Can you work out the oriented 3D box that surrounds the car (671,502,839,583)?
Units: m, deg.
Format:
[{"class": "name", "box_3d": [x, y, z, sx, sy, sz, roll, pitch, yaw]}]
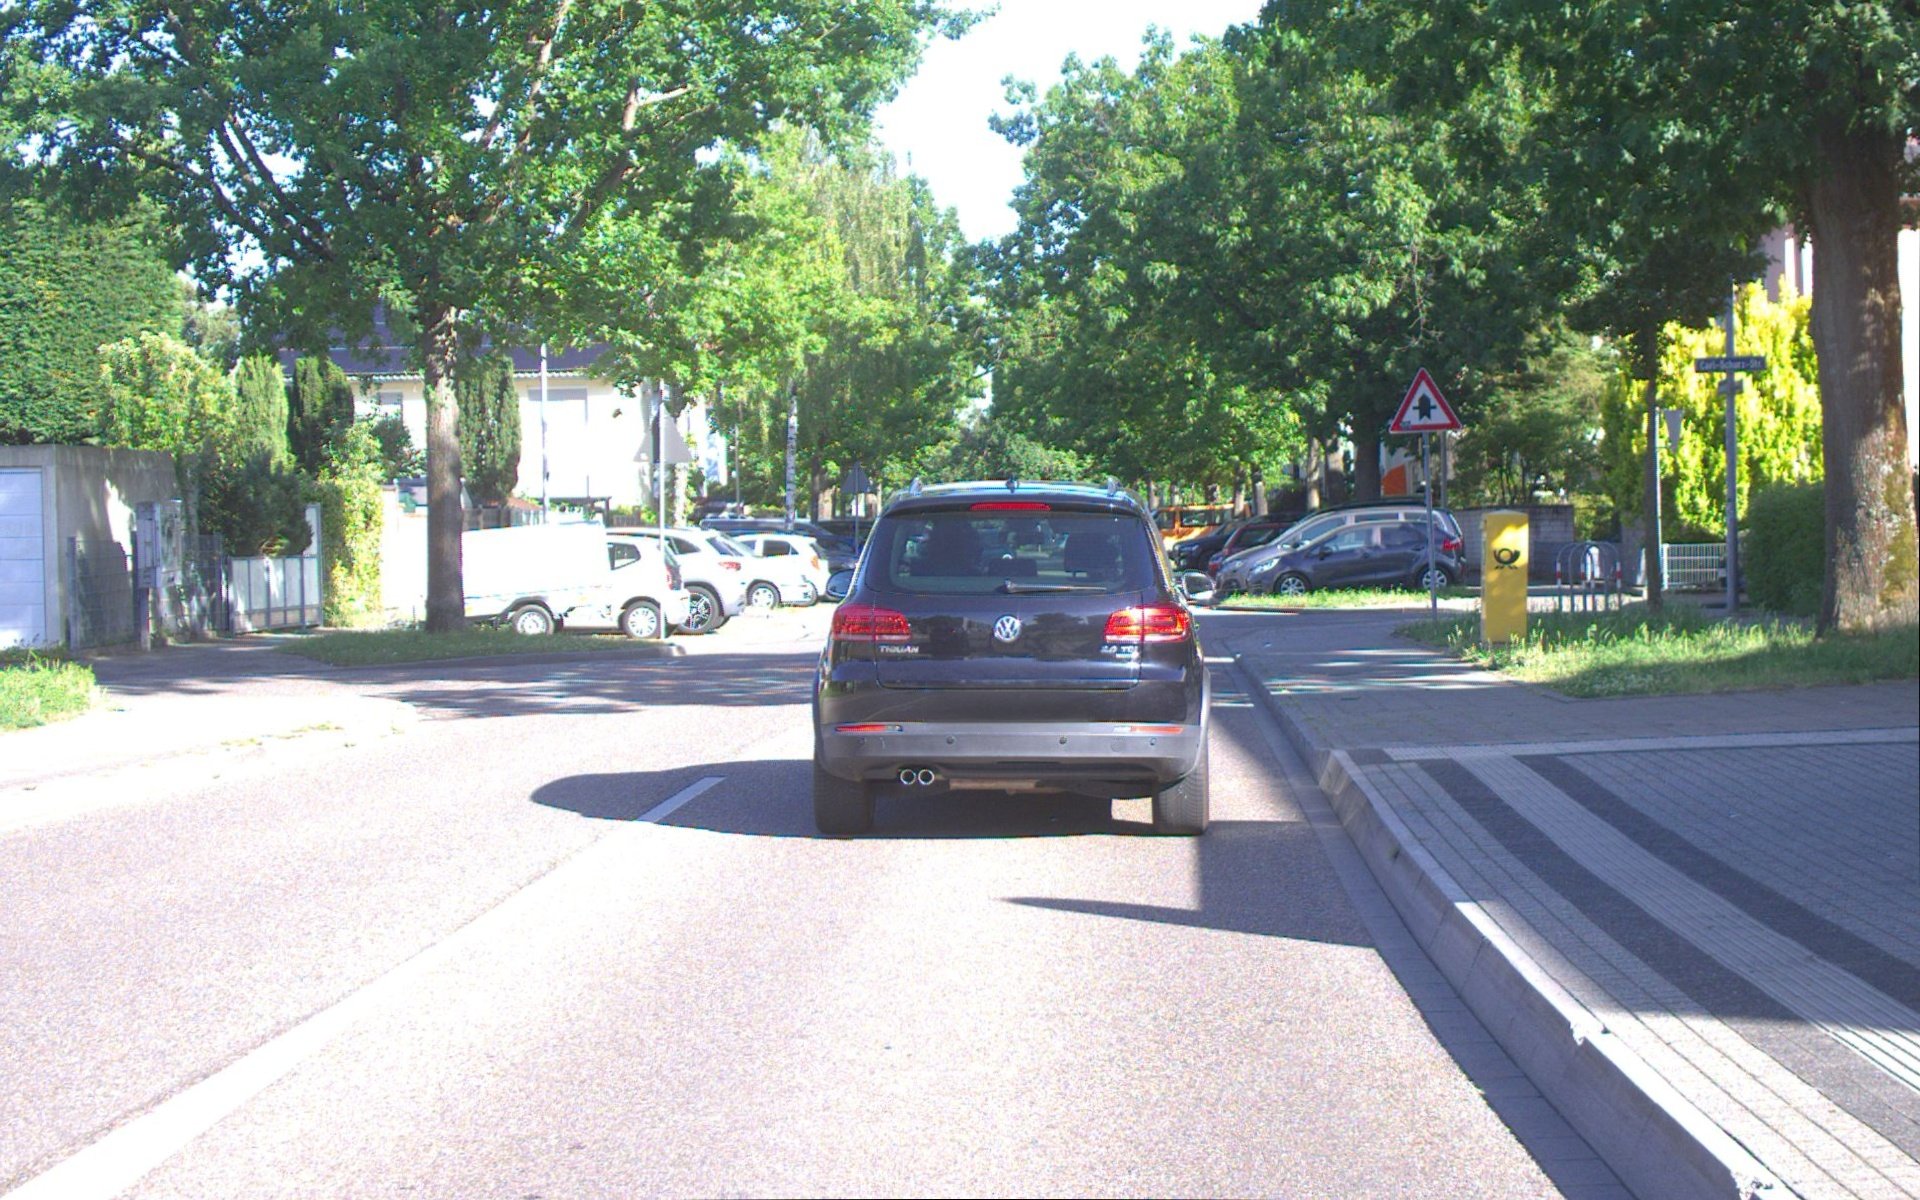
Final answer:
[{"class": "car", "box_3d": [-4.944, -1.394, 83.276, 3.986, 1.830, 1.638, -2, 1, -2]}]

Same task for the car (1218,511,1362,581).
[{"class": "car", "box_3d": [7.426, -1.223, 77.538, 3.044, 1.502, 1.247, -2, 1, -3]}]

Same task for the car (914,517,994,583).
[{"class": "car", "box_3d": [-0.129, -1.312, 88.665, 1.909, 1.550, 4.000, -3, 1, 1]}]

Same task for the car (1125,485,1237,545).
[{"class": "car", "box_3d": [8.061, -3.104, 125.646, 3.987, 2.007, 2.000, -2, -1, 3]}]

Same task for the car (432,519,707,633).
[{"class": "car", "box_3d": [-5.445, -0.348, 48.238, 3.549, 1.472, 1.808, -2, 1, 2]}]

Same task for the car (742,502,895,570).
[{"class": "car", "box_3d": [-3.793, -1.716, 92.866, 3.987, 1.714, 1.821, -1, 0, 2]}]

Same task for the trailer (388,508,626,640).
[{"class": "trailer", "box_3d": [-6.021, -0.362, 45.900, 2.966, 1.650, 1.396, -2, 1, -1]}]

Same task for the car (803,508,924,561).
[{"class": "car", "box_3d": [-3.337, -2.261, 118.323, 3.986, 1.678, 1.924, -2, 1, -5]}]

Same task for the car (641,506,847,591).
[{"class": "car", "box_3d": [-4.433, -1.077, 71.027, 3.987, 1.634, 2.000, -1, 1, 4]}]

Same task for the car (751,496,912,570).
[{"class": "car", "box_3d": [-3.561, -1.846, 95.328, 4.390, 1.932, 1.579, -1, 0, -2]}]

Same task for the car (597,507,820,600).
[{"class": "car", "box_3d": [-4.779, -0.897, 65.700, 3.987, 1.664, 2.000, -1, 1, 3]}]

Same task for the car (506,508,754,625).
[{"class": "car", "box_3d": [-4.852, -0.509, 50.889, 3.548, 1.608, 1.853, -1, 1, -3]}]

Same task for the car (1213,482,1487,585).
[{"class": "car", "box_3d": [7.752, -1.331, 68.696, 5.260, 1.939, 2.000, -1, 1, 2]}]

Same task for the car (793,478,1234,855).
[{"class": "car", "box_3d": [0.163, 0.230, 17.317, 1.929, 1.648, 4.515, 0, 2, -2]}]

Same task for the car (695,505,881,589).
[{"class": "car", "box_3d": [-3.766, -1.181, 75.761, 3.987, 1.725, 2.000, -2, 1, -1]}]

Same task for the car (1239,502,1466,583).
[{"class": "car", "box_3d": [7.181, -1.060, 63.184, 3.987, 1.364, 1.846, -1, 1, 2]}]

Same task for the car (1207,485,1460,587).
[{"class": "car", "box_3d": [7.100, -1.225, 65.685, 4.633, 1.803, 1.824, -2, 1, 2]}]

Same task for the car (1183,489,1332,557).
[{"class": "car", "box_3d": [8.142, -2.116, 94.271, 3.987, 1.769, 1.789, -1, 1, 3]}]
